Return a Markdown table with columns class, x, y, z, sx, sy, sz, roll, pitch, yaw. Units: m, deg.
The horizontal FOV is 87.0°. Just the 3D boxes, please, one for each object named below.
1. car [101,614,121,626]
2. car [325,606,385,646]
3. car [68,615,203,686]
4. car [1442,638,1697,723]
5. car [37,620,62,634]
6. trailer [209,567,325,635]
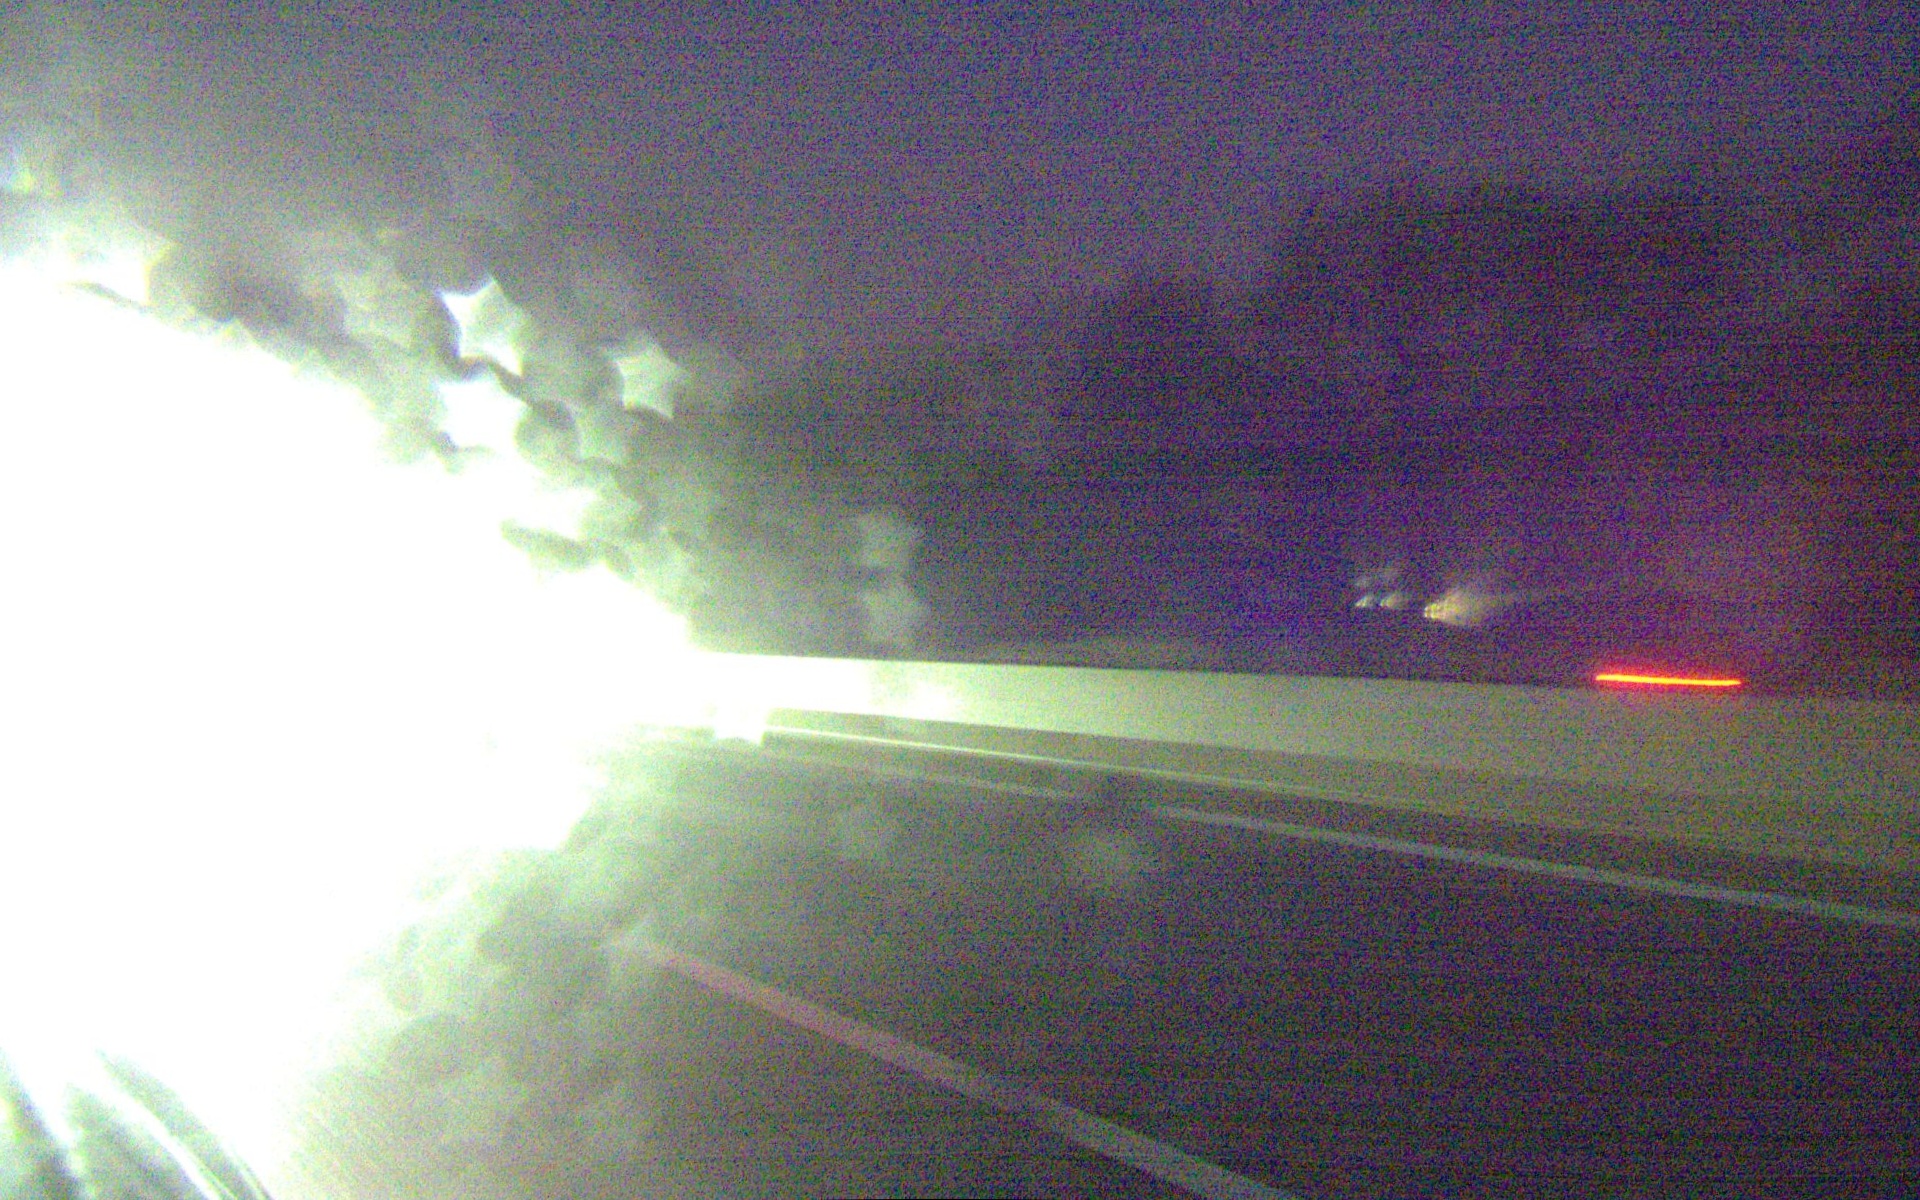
| class | x | y | z | sx | sy | sz | roll | pitch | yaw |
| --- | --- | --- | --- | --- | --- | --- | --- | --- | --- |
| car | -121.288 | 2.856 | 144.526 | 3.999 | 1.475 | 1.690 | 0 | 2 | 42 |
| car | -34.037 | 1.412 | 56.878 | 3.949 | 2.144 | 1.773 | 0 | -1 | 42 |
| car | -21.022 | 1.250 | 25.747 | 2.278 | 1.621 | 3.874 | 4 | -3 | -44 |
| car | 12.990 | 1.638 | 21.716 | 4.406 | 1.497 | 1.973 | -1 | 0 | 41 |
| car | -114.979 | 3.348 | 127.819 | 3.997 | 1.674 | 1.815 | 0 | -1 | 40 |
| trailer | -53.016 | 0.142 | 77.151 | 13.957 | 4.659 | 4.122 | 0 | -3 | 43 |
